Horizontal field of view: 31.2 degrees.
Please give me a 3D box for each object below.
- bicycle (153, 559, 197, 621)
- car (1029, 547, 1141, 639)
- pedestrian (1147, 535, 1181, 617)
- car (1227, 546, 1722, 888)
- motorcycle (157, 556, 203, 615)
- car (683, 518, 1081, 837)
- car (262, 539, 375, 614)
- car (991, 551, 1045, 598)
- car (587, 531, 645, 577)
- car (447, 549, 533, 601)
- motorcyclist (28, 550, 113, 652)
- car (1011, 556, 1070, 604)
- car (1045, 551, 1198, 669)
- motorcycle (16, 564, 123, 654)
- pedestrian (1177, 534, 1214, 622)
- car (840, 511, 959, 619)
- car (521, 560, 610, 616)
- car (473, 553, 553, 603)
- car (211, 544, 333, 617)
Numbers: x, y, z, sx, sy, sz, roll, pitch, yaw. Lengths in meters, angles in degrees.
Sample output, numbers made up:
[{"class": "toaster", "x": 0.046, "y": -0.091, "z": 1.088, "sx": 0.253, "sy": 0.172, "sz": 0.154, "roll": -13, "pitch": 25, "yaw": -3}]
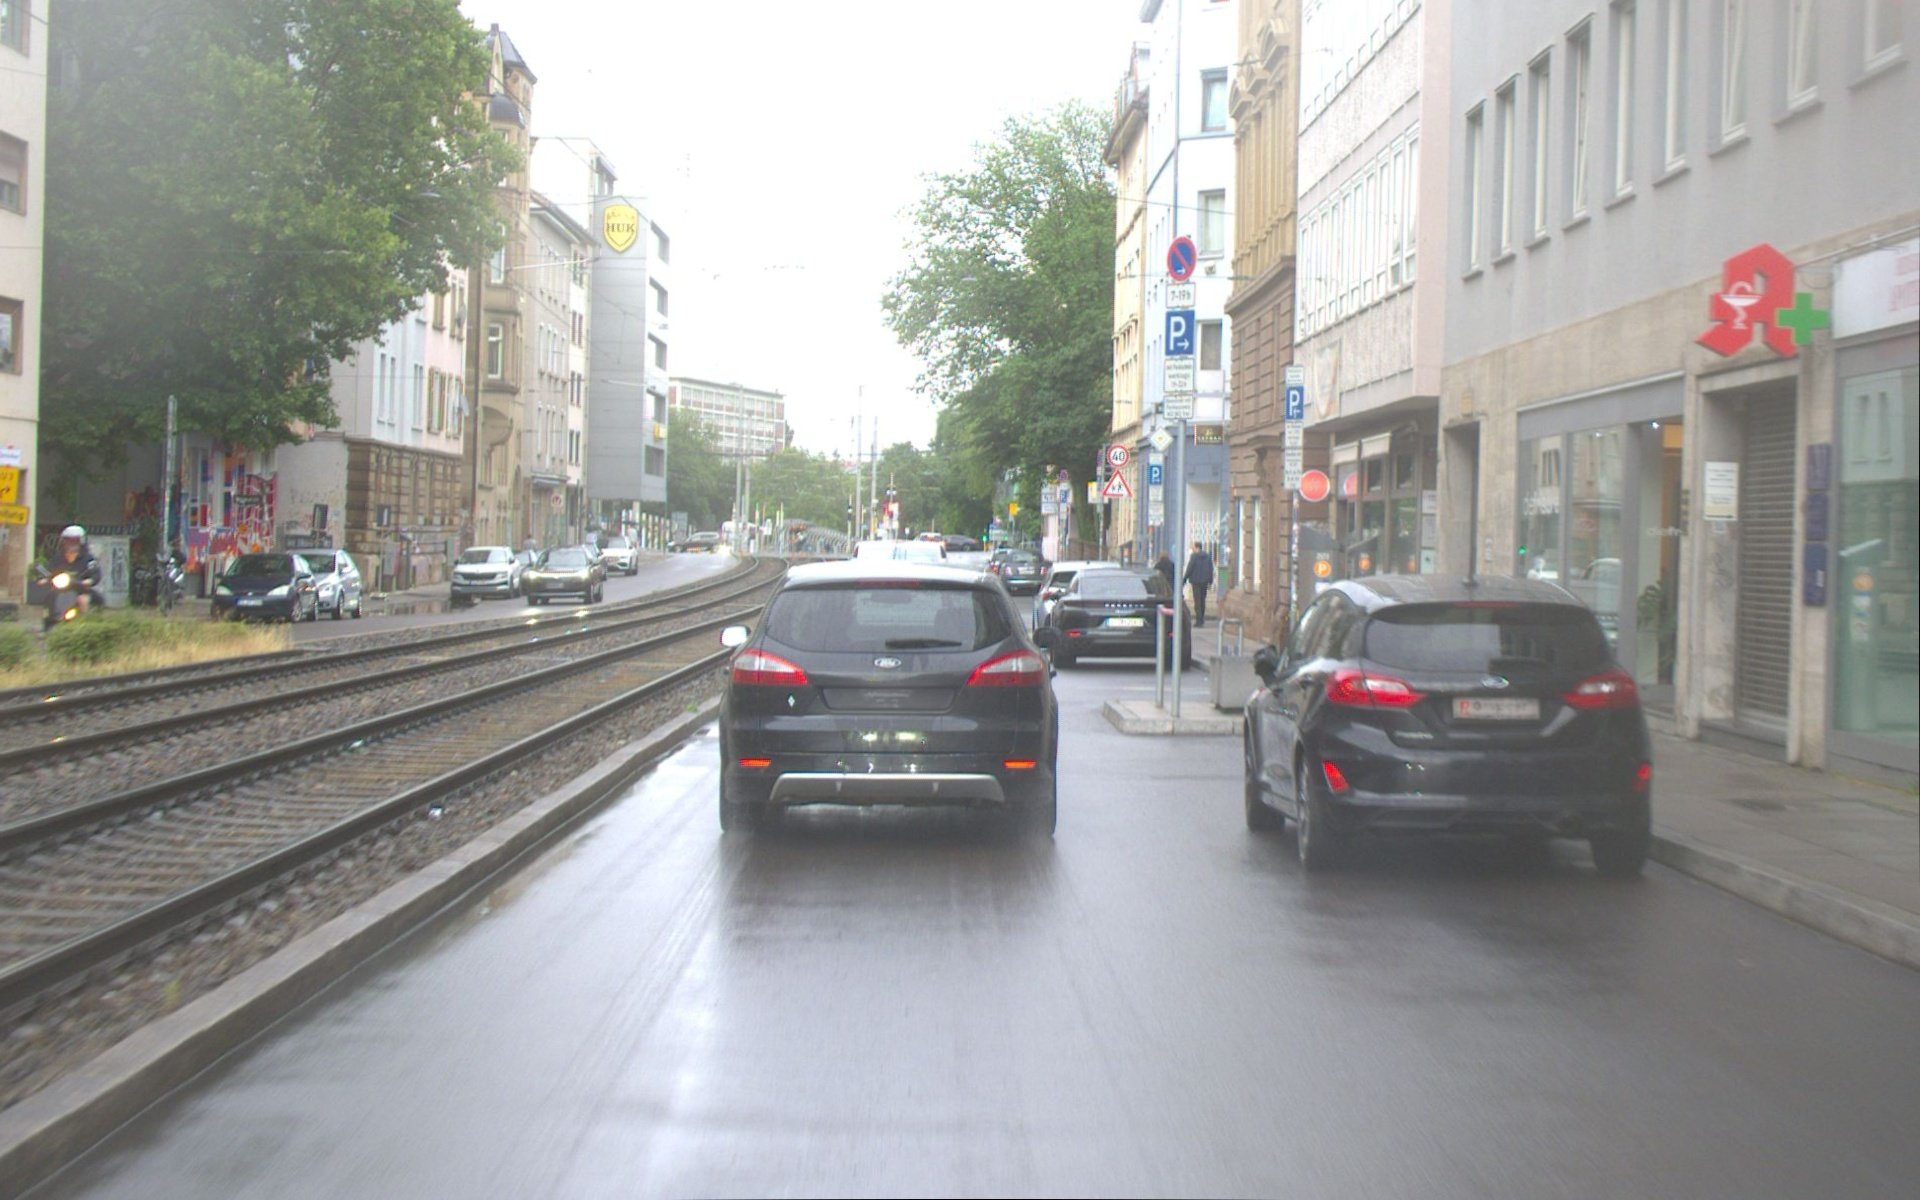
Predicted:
[{"class": "bicycle", "x": -15.804, "y": -0.202, "z": 69.228, "sx": 0.590, "sy": 1.222, "sz": 2.404, "roll": 2, "pitch": 0, "yaw": -7}, {"class": "car", "x": 2.185, "y": -0.159, "z": 61.266, "sx": 1.746, "sy": 1.518, "sz": 4.355, "roll": 1, "pitch": 1, "yaw": -1}, {"class": "pedestrian", "x": 4.674, "y": -0.554, "z": 78.910, "sx": 0.662, "sy": 1.846, "sz": 0.821, "roll": 1, "pitch": 1, "yaw": -1}, {"class": "car", "x": 2.596, "y": 0.563, "z": 18.358, "sx": 1.993, "sy": 1.588, "sz": 4.271, "roll": 1, "pitch": 0, "yaw": 0}, {"class": "motorcycle", "x": -18.778, "y": -0.355, "z": 82.786, "sx": 0.639, "sy": 1.374, "sz": 2.120, "roll": 2, "pitch": 0, "yaw": -2}, {"class": "car", "x": -0.388, "y": 0.402, "z": 19.563, "sx": 1.993, "sy": 1.588, "sz": 4.271, "roll": 1, "pitch": 0, "yaw": 0}, {"class": "car", "x": -14.332, "y": -0.526, "z": 77.005, "sx": 1.722, "sy": 1.565, "sz": 4.220, "roll": 2, "pitch": 0, "yaw": 0}, {"class": "car", "x": 1.966, "y": -0.900, "z": 117.394, "sx": 1.642, "sy": 1.510, "sz": 4.039, "roll": 1, "pitch": 1, "yaw": -1}, {"class": "car", "x": -14.458, "y": -1.924, "z": 144.526, "sx": 1.993, "sy": 1.833, "sz": 5.071, "roll": 2, "pitch": 0, "yaw": -1}, {"class": "car", "x": -14.358, "y": -0.770, "z": 105.195, "sx": 1.993, "sy": 1.514, "sz": 4.435, "roll": 2, "pitch": 0, "yaw": 0}, {"class": "motorcyclist", "x": -10.987, "y": 0.011, "z": 42.479, "sx": 0.741, "sy": 1.213, "sz": 0.970, "roll": 2, "pitch": 0, "yaw": 2}, {"class": "car", "x": 2.618, "y": -0.681, "z": 112.837, "sx": 1.738, "sy": 1.484, "sz": 4.000, "roll": 1, "pitch": 1, "yaw": -1}, {"class": "car", "x": 2.278, "y": 0.152, "z": 49.589, "sx": 1.993, "sy": 1.588, "sz": 4.571, "roll": 1, "pitch": 0, "yaw": 0}, {"class": "motorcycle", "x": -10.989, "y": 0.110, "z": 42.469, "sx": 0.742, "sy": 1.056, "sz": 1.931, "roll": 2, "pitch": 0, "yaw": 2}, {"class": "pedestrian", "x": 5.407, "y": -0.511, "z": 78.920, "sx": 0.736, "sy": 2.007, "sz": 0.821, "roll": 1, "pitch": 1, "yaw": -1}, {"class": "car", "x": -1.038, "y": -0.582, "z": 60.718, "sx": 1.993, "sy": 1.810, "sz": 4.271, "roll": 1, "pitch": 0, "yaw": 0}, {"class": "car", "x": -11.156, "y": -0.351, "z": 97.433, "sx": 1.993, "sy": 1.514, "sz": 4.444, "roll": 2, "pitch": 0, "yaw": 0}, {"class": "car", "x": -14.300, "y": -0.711, "z": 110.118, "sx": 1.993, "sy": 1.514, "sz": 4.209, "roll": 2, "pitch": 0, "yaw": 0}, {"class": "car", "x": -14.385, "y": -0.415, "z": 72.060, "sx": 1.744, "sy": 1.464, "sz": 4.220, "roll": 0, "pitch": 0, "yaw": 0}]
